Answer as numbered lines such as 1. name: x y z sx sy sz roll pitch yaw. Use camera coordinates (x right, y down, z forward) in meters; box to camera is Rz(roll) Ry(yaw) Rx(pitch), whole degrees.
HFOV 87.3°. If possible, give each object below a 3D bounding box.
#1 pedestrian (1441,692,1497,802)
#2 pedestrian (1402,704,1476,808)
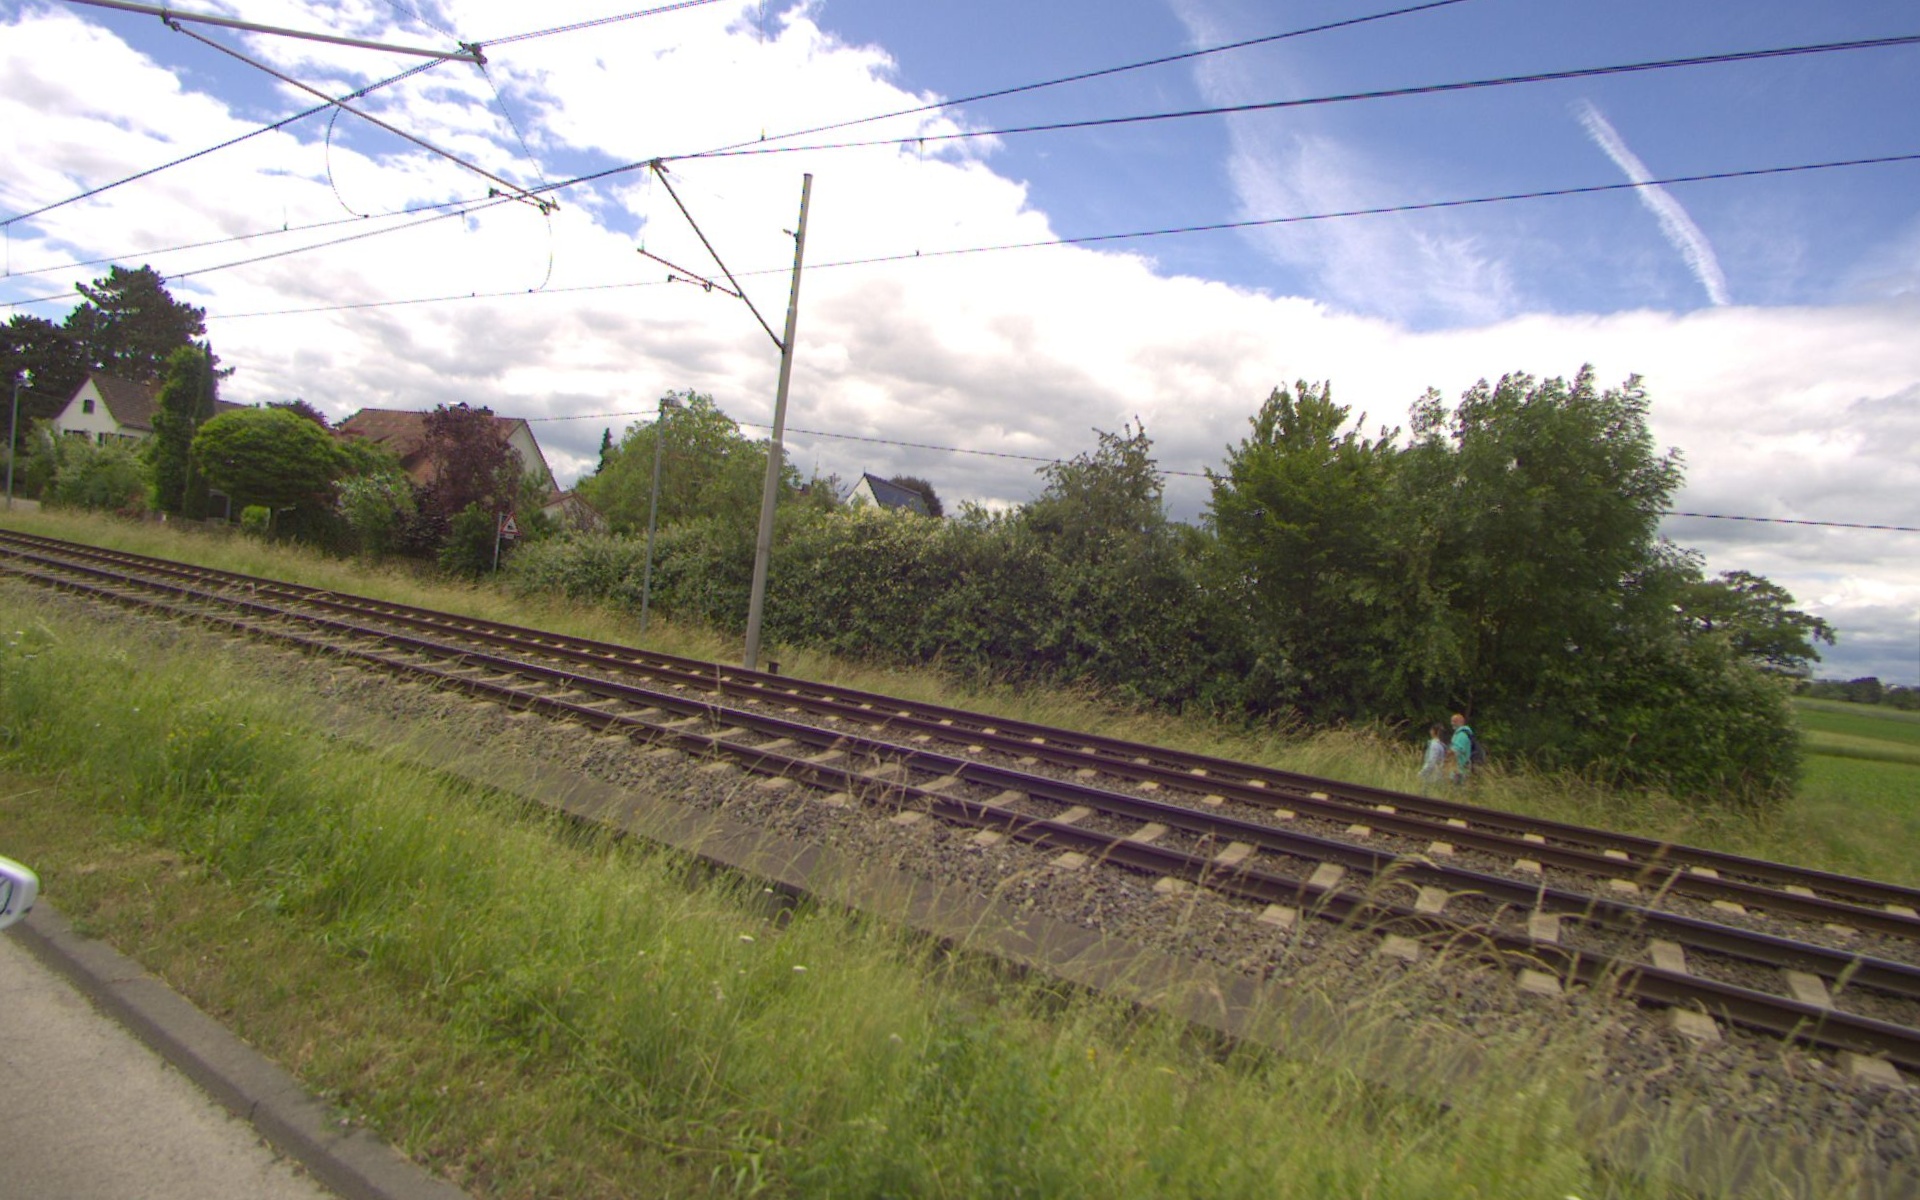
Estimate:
1. pedestrian: 8.182 2.347 16.165 0.574 1.641 0.617 7 0 32
2. pedestrian: 7.256 2.357 15.251 0.594 1.447 0.661 8 -1 -33
